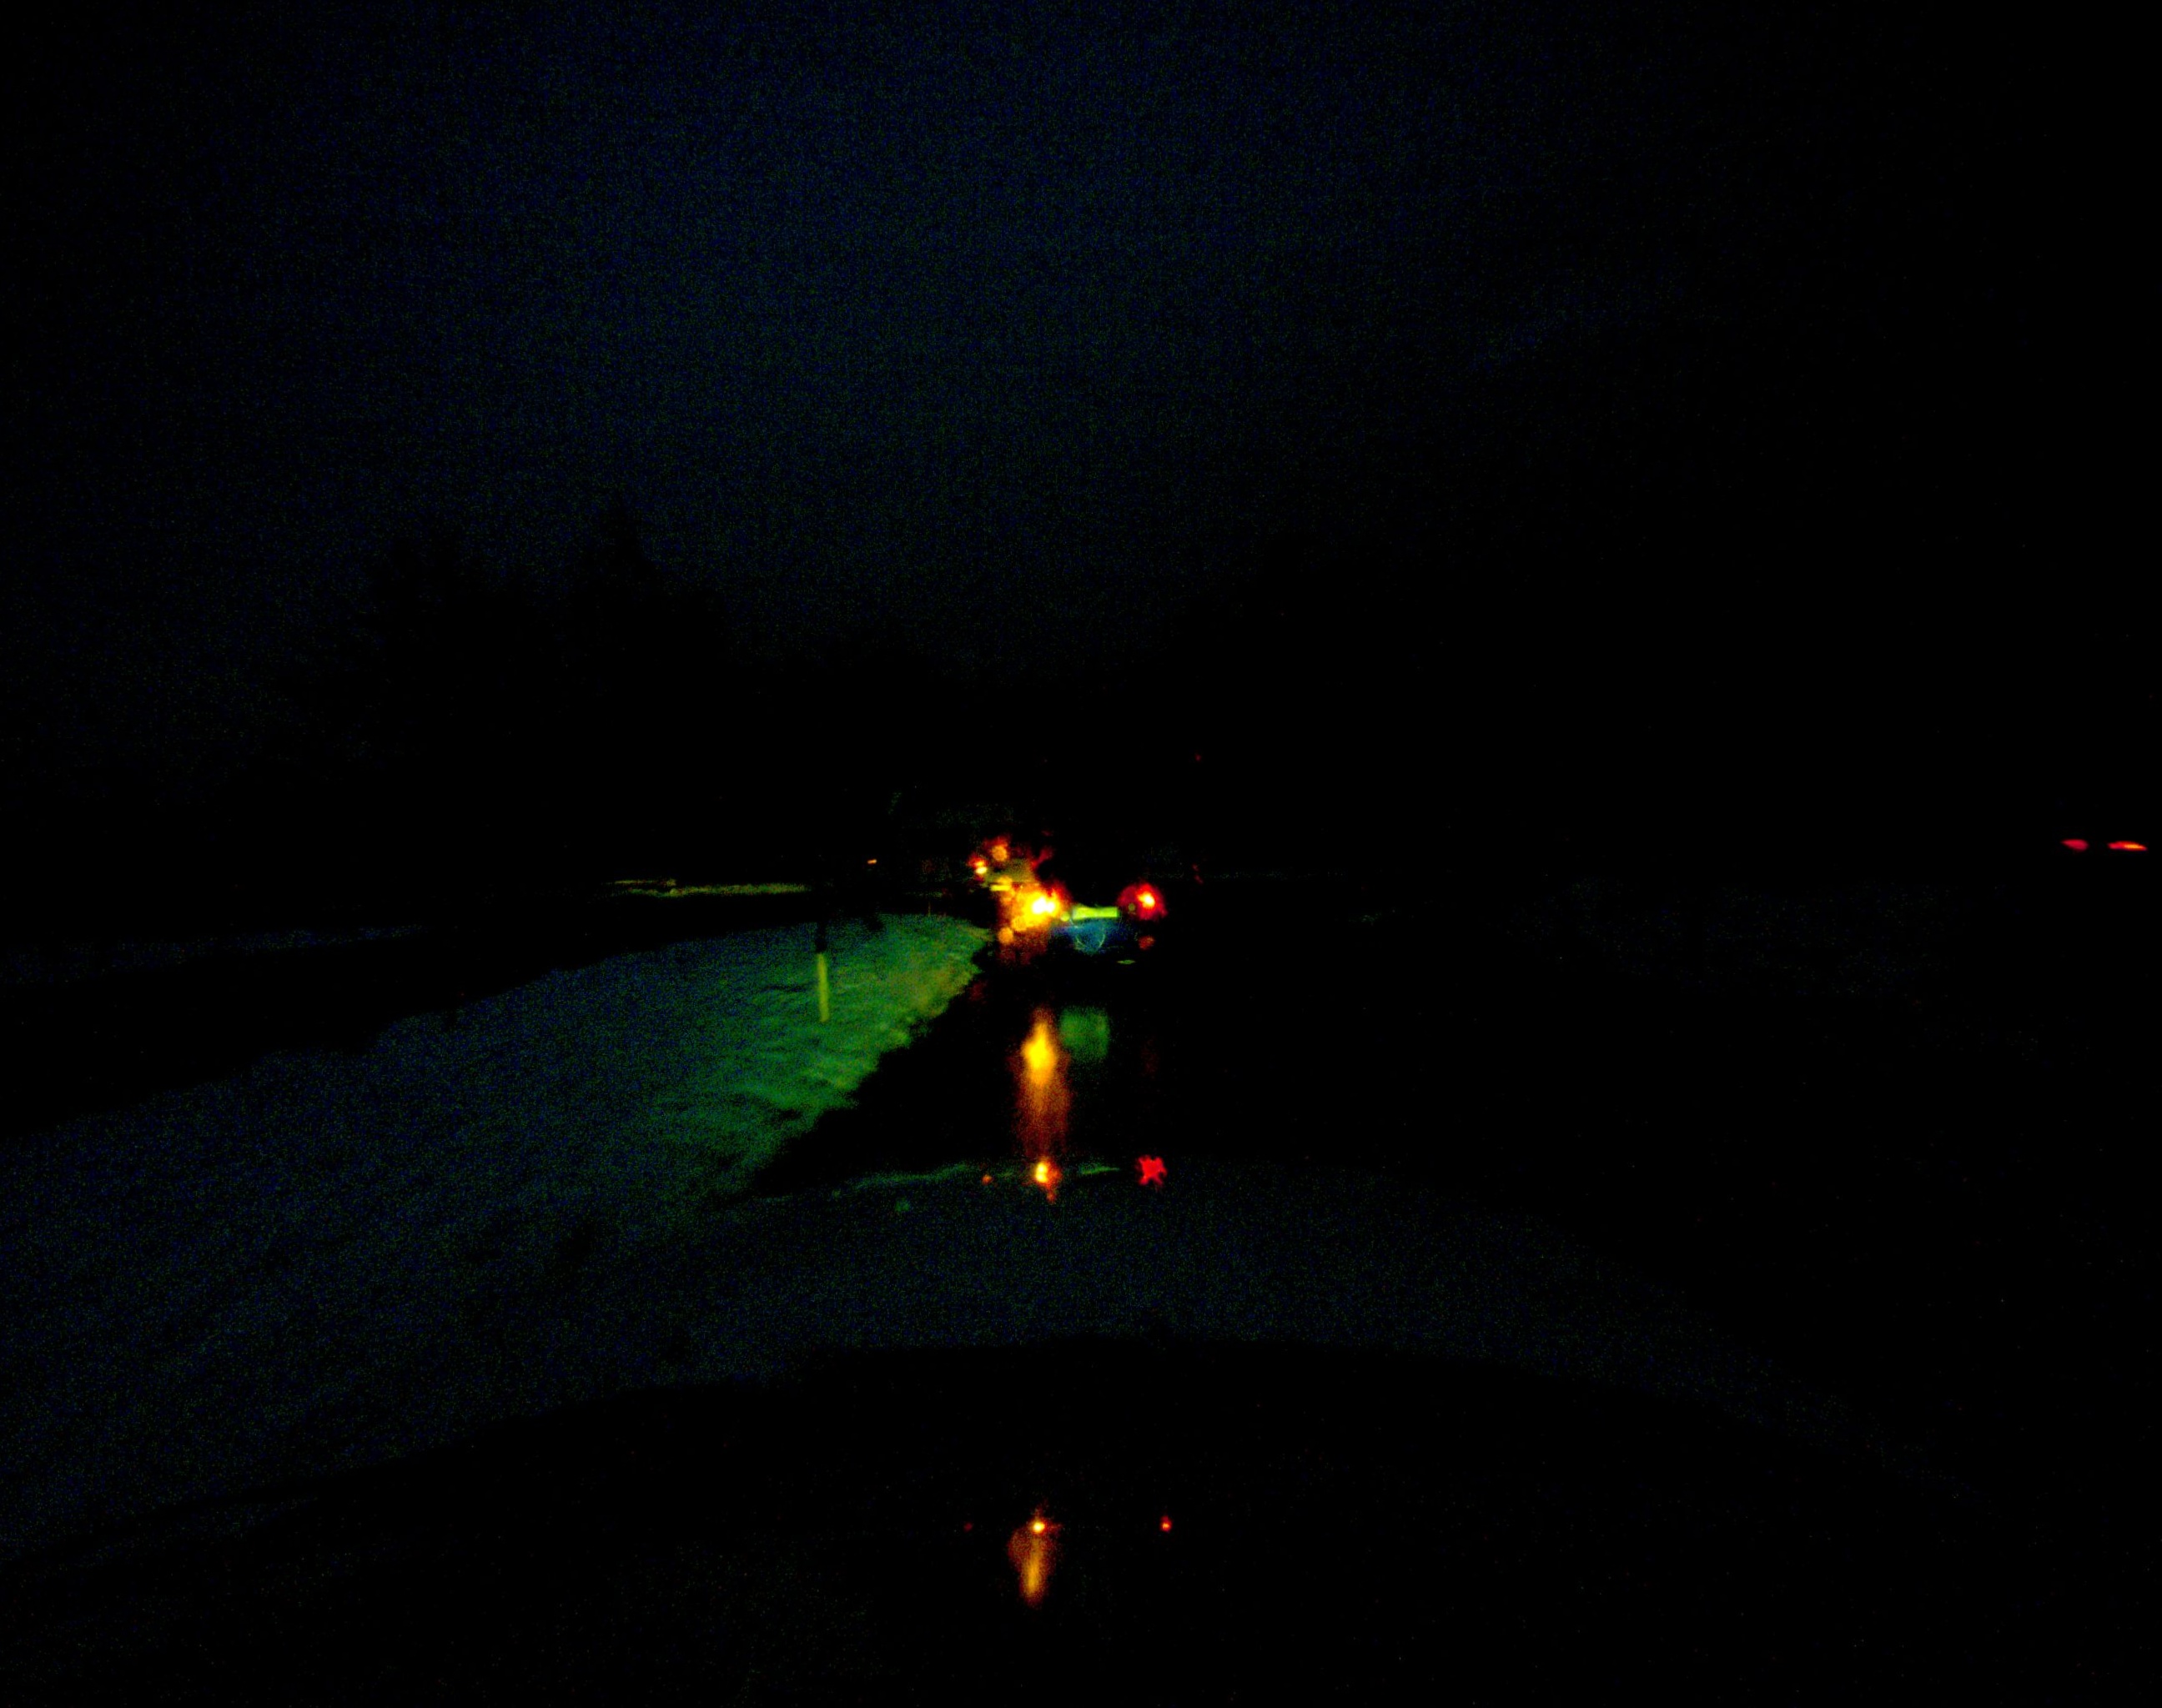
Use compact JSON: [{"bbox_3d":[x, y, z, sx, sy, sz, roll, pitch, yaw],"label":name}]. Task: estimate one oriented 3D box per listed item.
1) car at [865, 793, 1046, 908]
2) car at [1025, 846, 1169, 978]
[{"bbox_3d":[-3.507,-0.047,21.898,2.165,2.696,5.462,1,-1,-42],"label":"car"},{"bbox_3d":[0.250,0.669,11.543,1.686,1.552,3.857,0,0,2],"label":"car"}]
